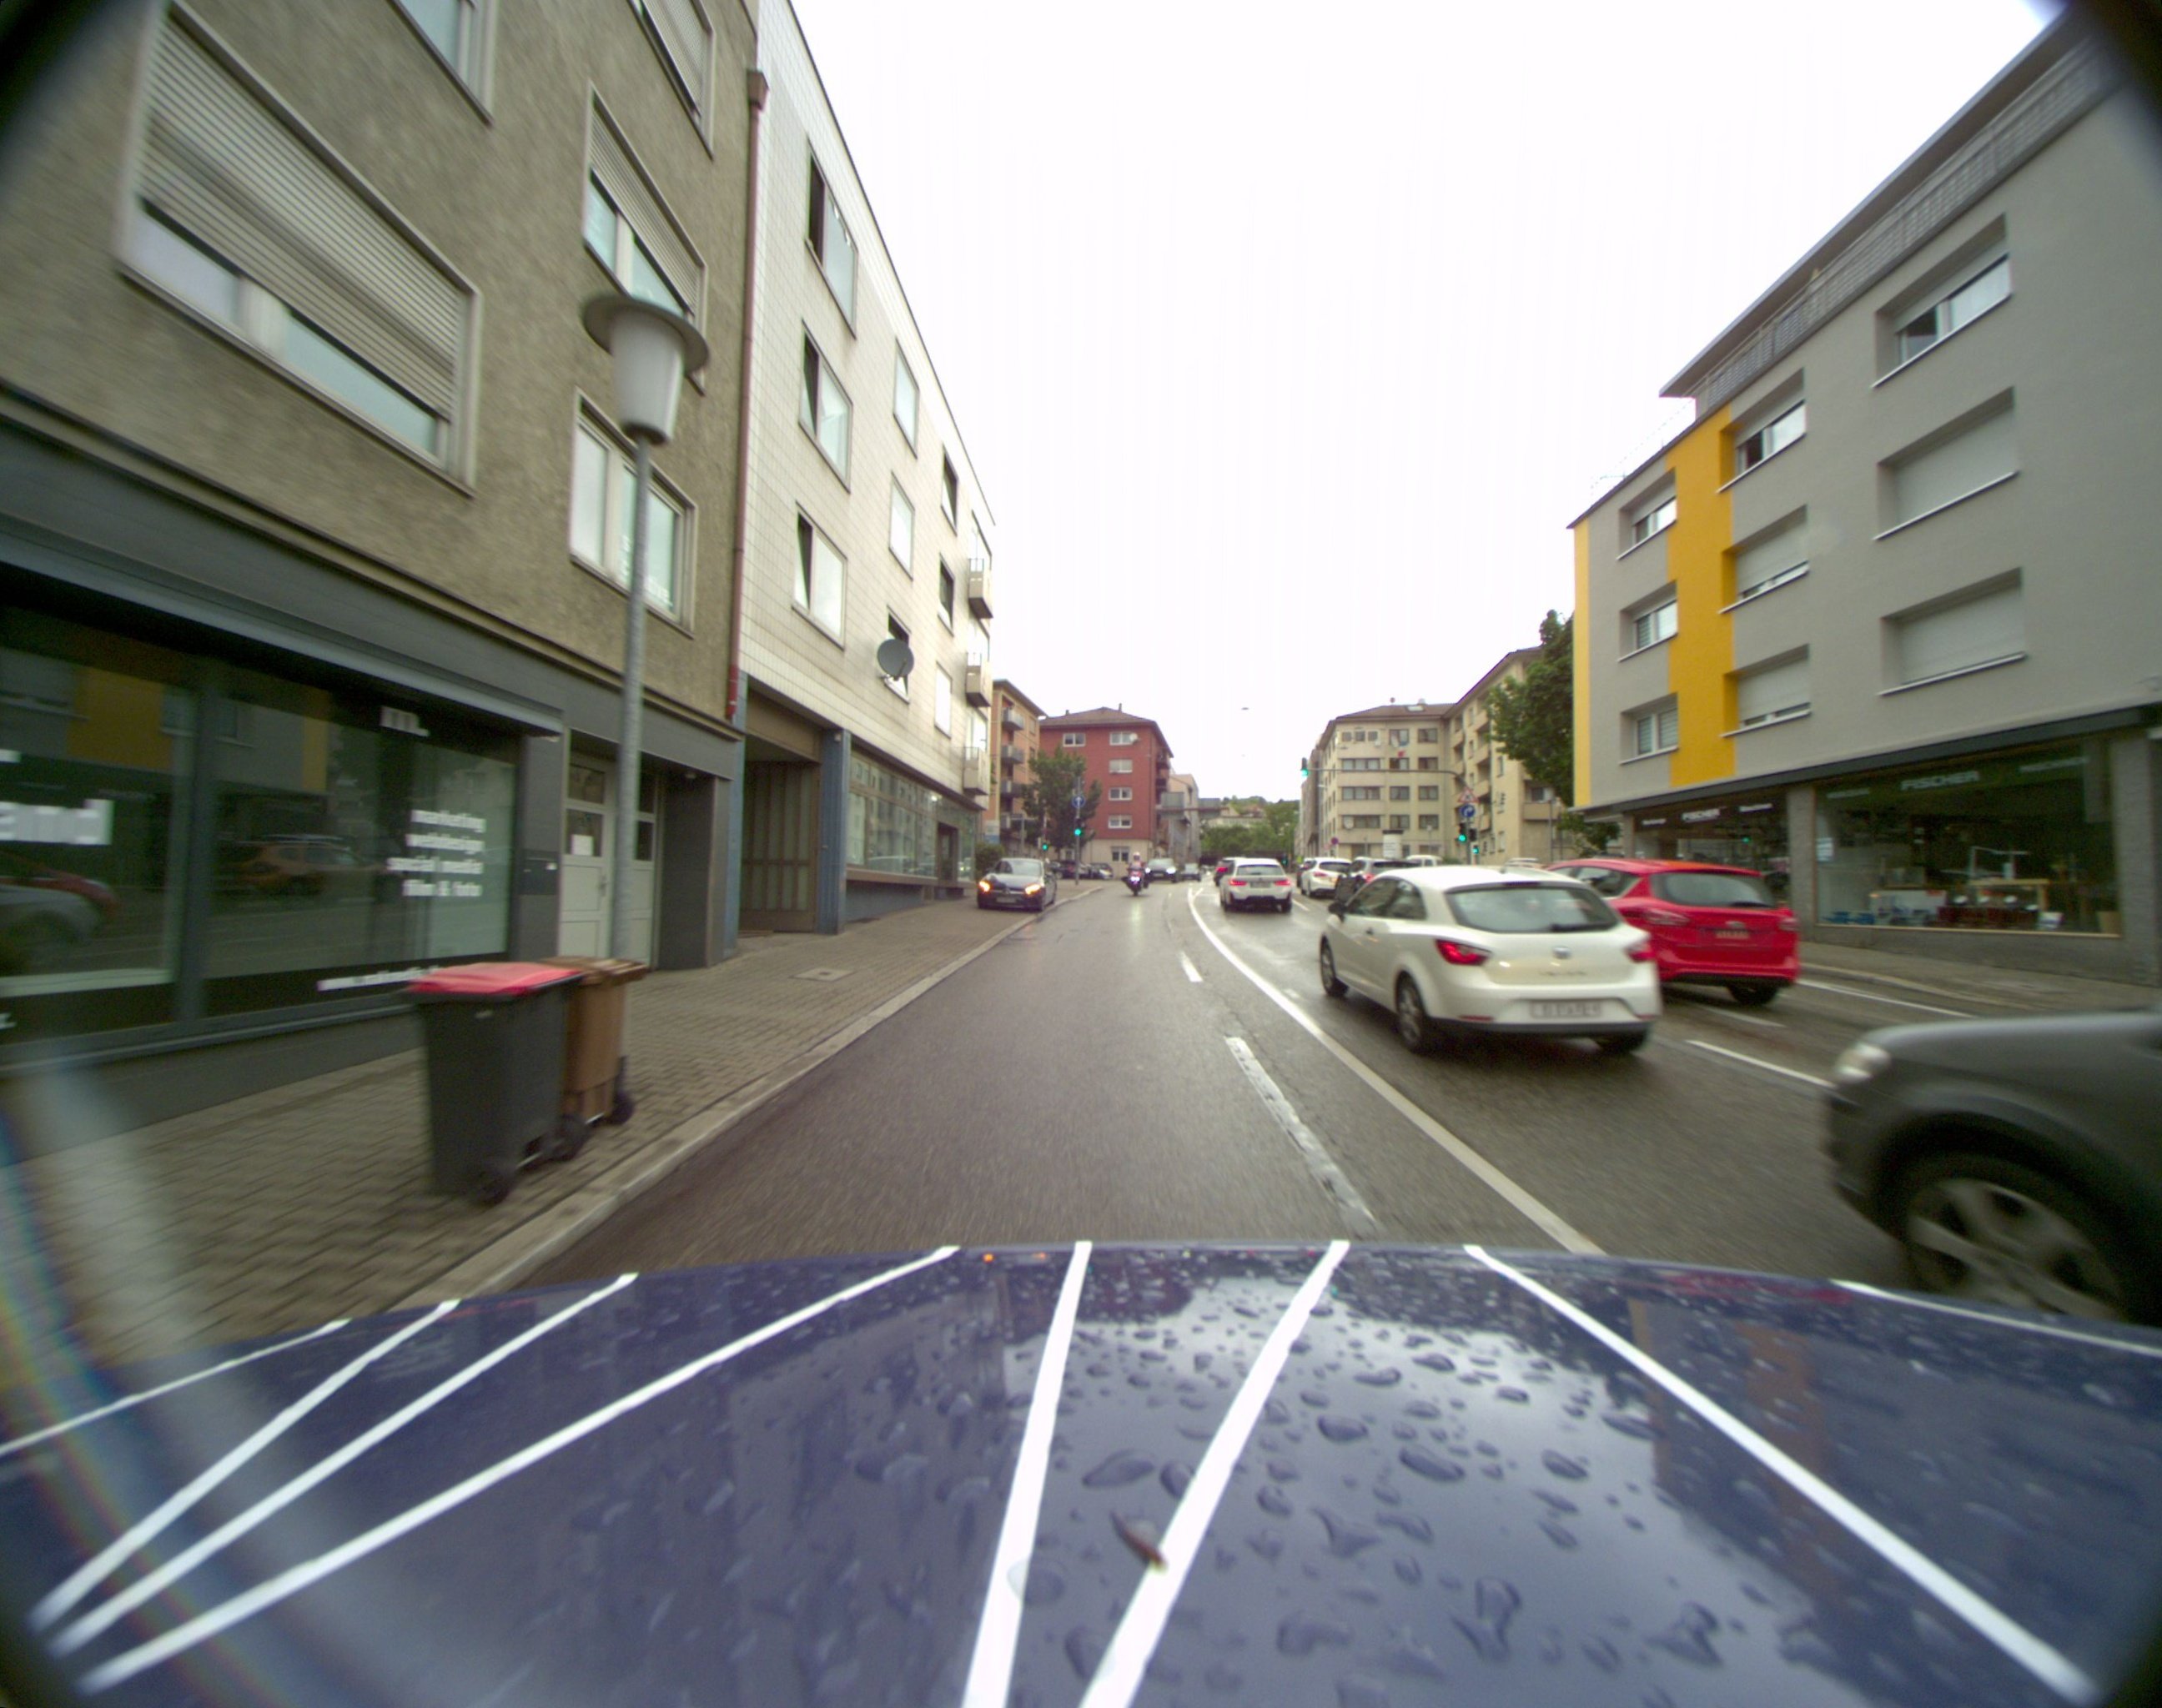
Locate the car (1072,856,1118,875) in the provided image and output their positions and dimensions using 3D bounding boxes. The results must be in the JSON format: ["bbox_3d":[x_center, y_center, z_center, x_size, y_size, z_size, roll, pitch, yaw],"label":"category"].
[{"bbox_3d":[1.335,1.123,74.252,3.990,1.694,2.005,-2,-4,25],"label":"car"}]

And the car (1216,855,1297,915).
[{"bbox_3d":[5.025,0.820,22.276,1.810,1.512,4.563,1,1,7],"label":"car"}]

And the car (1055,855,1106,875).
[{"bbox_3d":[-0.042,0.974,66.752,3.990,1.709,1.997,-1,-1,24],"label":"car"}]

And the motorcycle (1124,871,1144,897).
[{"bbox_3d":[2.077,1.153,29.875,0.637,0.921,2.365,-1,0,1],"label":"motorcycle"}]

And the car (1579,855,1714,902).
[{"bbox_3d":[22.309,0.924,30.018,4.347,1.719,1.771,0,2,-11],"label":"car"}]

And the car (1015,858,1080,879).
[{"bbox_3d":[-2.698,1.165,61.006,4.786,1.545,1.853,2,-1,15],"label":"car"}]

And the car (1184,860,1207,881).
[{"bbox_3d":[10.566,1.553,70.043,1.792,1.716,4.007,-1,-4,12],"label":"car"}]

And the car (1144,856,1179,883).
[{"bbox_3d":[4.641,0.901,43.546,1.873,1.433,4.003,-1,-1,7],"label":"car"}]

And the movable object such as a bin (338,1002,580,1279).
[{"bbox_3d":[-2.580,1.152,3.205,0.526,0.974,0.538,-1,-4,4],"label":"movable object such as a bin"}]

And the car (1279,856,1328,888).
[{"bbox_3d":[10.986,0.870,37.746,1.822,1.469,4.383,0,-1,10],"label":"car"}]

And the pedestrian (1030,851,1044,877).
[{"bbox_3d":[-2.906,0.655,50.344,0.758,1.636,0.710,3,-3,1],"label":"pedestrian"}]

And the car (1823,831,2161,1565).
[{"bbox_3d":[3.352,0.803,0.260,1.811,1.695,4.561,0,1,2],"label":"car"}]

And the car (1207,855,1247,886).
[{"bbox_3d":[7.395,0.788,38.776,1.810,1.407,4.381,1,1,8],"label":"car"}]

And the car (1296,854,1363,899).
[{"bbox_3d":[9.348,0.838,28.912,1.810,1.533,4.383,0,-1,10],"label":"car"}]

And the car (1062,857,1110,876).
[{"bbox_3d":[0.501,1.138,69.393,3.991,1.687,1.804,0,-3,20],"label":"car"}]

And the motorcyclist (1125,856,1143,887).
[{"bbox_3d":[2.079,0.691,29.780,0.654,1.216,0.658,0,0,0],"label":"motorcyclist"}]

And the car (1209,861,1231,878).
[{"bbox_3d":[13.144,1.479,71.652,1.837,1.545,4.005,0,-1,13],"label":"car"}]

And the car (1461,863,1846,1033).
[{"bbox_3d":[6.633,0.942,9.510,1.744,1.507,4.131,2,1,2],"label":"car"}]

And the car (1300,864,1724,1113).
[{"bbox_3d":[3.374,0.904,7.014,1.702,1.471,4.291,-2,1,4],"label":"car"}]

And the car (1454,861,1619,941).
[{"bbox_3d":[10.813,1.032,18.392,1.659,1.601,3.929,2,1,2],"label":"car"}]

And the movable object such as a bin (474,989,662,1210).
[{"bbox_3d":[-2.523,1.176,3.785,0.526,0.944,0.538,-1,-4,4],"label":"movable object such as a bin"}]

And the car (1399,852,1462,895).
[{"bbox_3d":[16.604,0.945,35.976,1.727,1.819,4.070,6,2,37],"label":"car"}]

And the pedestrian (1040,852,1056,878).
[{"bbox_3d":[-2.154,0.752,50.208,0.760,1.636,0.709,5,-4,-23],"label":"pedestrian"}]

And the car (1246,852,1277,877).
[{"bbox_3d":[12.434,0.702,52.542,1.822,1.528,4.381,1,1,10],"label":"car"}]

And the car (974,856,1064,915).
[{"bbox_3d":[-1.676,0.828,22.010,1.767,1.384,4.380,3,1,6],"label":"car"}]

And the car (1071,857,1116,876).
[{"bbox_3d":[1.178,1.217,71.770,3.990,1.571,1.679,-3,-5,31],"label":"car"}]

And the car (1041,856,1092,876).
[{"bbox_3d":[-1.210,0.991,64.201,3.994,1.650,1.995,0,-2,9],"label":"car"}]

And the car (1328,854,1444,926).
[{"bbox_3d":[8.120,0.880,20.678,1.810,1.622,4.344,3,1,7],"label":"car"}]
